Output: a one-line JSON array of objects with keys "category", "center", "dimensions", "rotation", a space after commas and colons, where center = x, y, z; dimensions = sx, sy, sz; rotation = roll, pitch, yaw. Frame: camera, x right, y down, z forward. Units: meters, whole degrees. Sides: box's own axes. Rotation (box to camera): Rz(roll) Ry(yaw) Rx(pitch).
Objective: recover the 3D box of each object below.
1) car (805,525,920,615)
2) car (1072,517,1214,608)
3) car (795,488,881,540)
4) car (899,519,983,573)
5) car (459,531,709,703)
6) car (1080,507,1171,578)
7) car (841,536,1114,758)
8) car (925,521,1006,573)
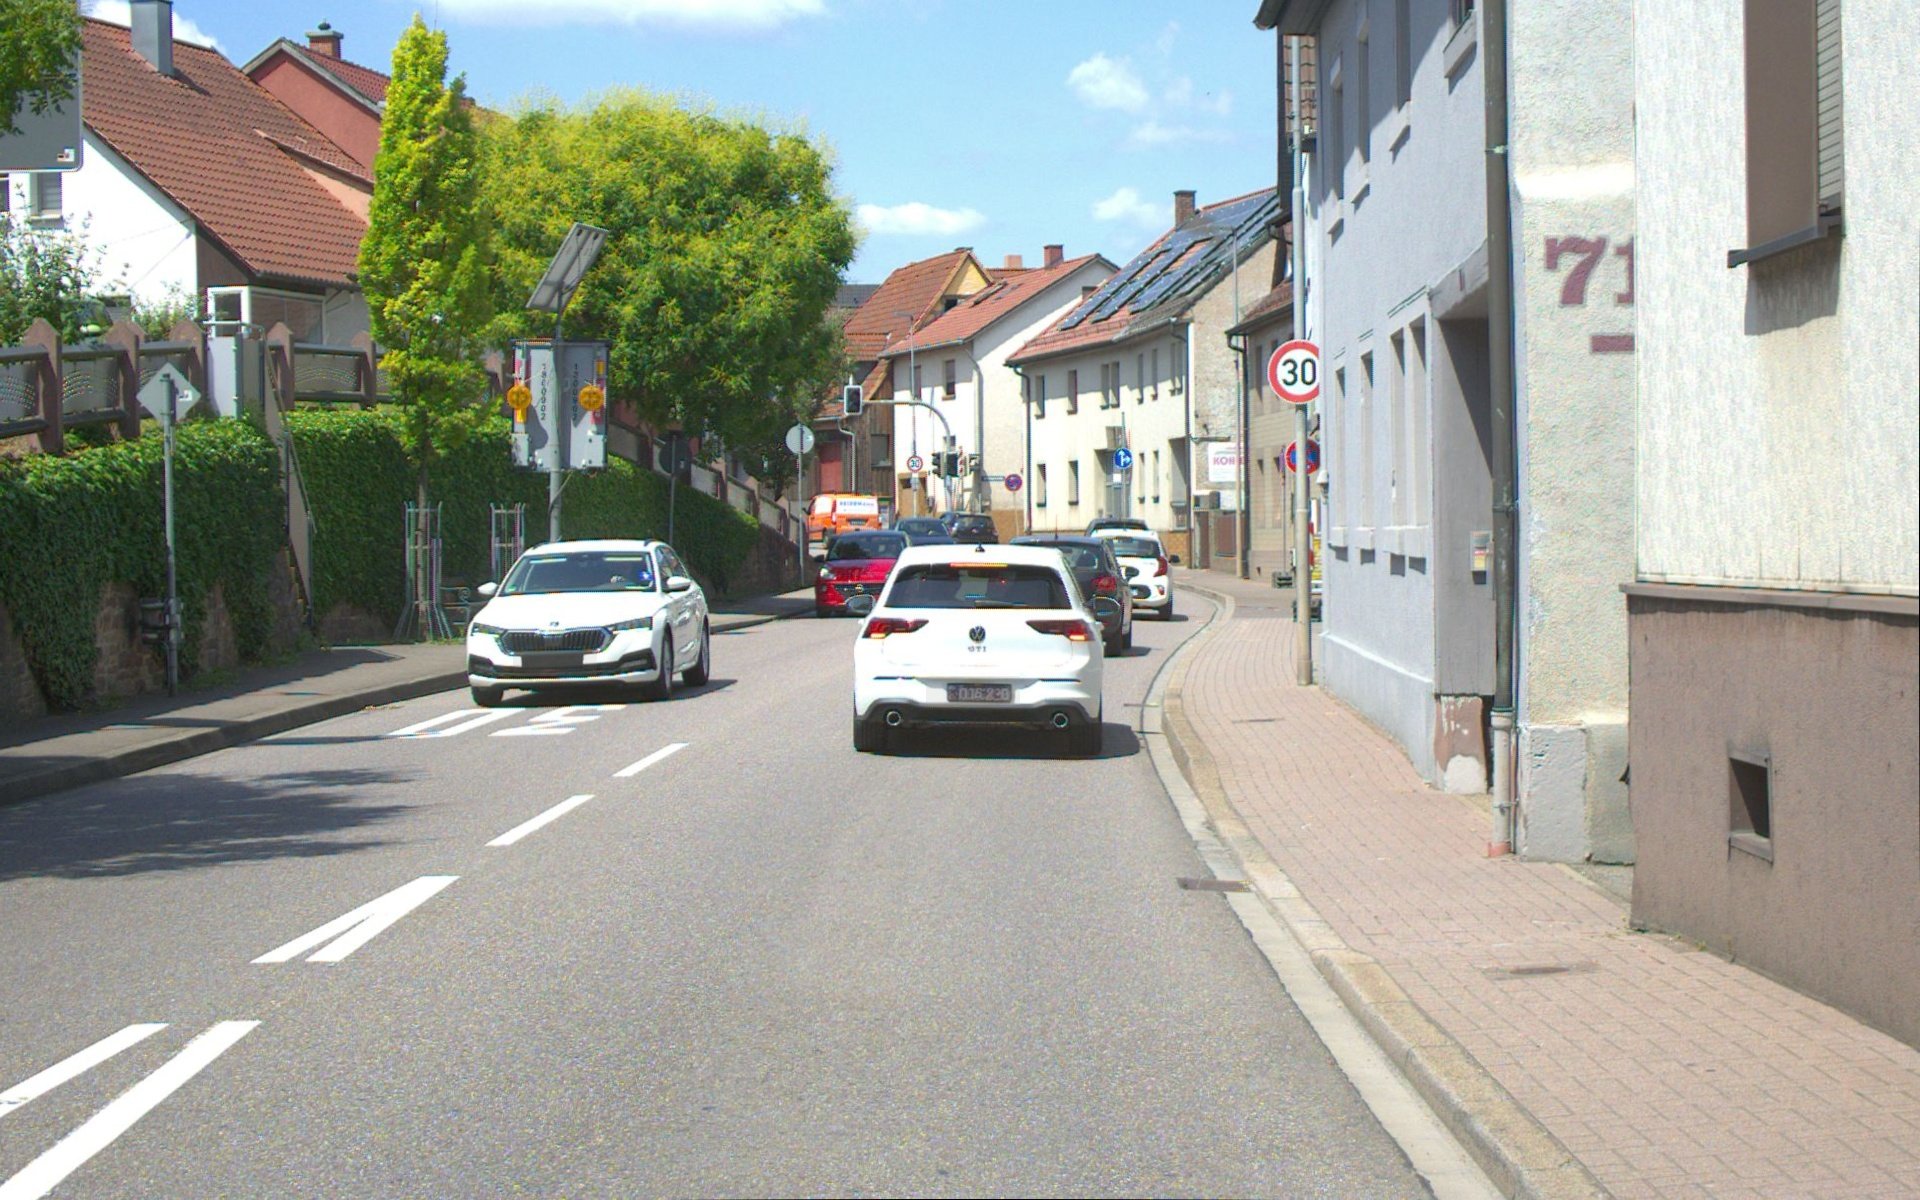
[{"category": "car", "center": [-1.665, -0.551, 59.920], "dimensions": [1.617, 1.439, 3.801], "rotation": [-2, 1, 3]}, {"category": "car", "center": [3.148, -0.651, 58.444], "dimensions": [1.809, 1.462, 3.998], "rotation": [1, 1, 12]}, {"category": "car", "center": [-4.224, -2.951, 118.268], "dimensions": [1.775, 1.759, 4.001], "rotation": [-1, 2, -20]}, {"category": "car", "center": [-0.477, -1.442, 90.927], "dimensions": [1.794, 1.373, 4.116], "rotation": [0, 1, 5]}, {"category": "car", "center": [-3.451, 0.102, 32.288], "dimensions": [1.813, 1.442, 4.430], "rotation": [-2, 1, 0]}, {"category": "car", "center": [3.645, -1.297, 76.411], "dimensions": [1.775, 1.533, 4.000], "rotation": [-1, 1, -1]}, {"category": "car", "center": [0.100, 0.281, 25.131], "dimensions": [1.807, 1.462, 4.000], "rotation": [1, 1, -1]}, {"category": "car", "center": [0.141, -1.635, 104.317], "dimensions": [1.775, 1.533, 4.001], "rotation": [-1, 1, -10]}]
